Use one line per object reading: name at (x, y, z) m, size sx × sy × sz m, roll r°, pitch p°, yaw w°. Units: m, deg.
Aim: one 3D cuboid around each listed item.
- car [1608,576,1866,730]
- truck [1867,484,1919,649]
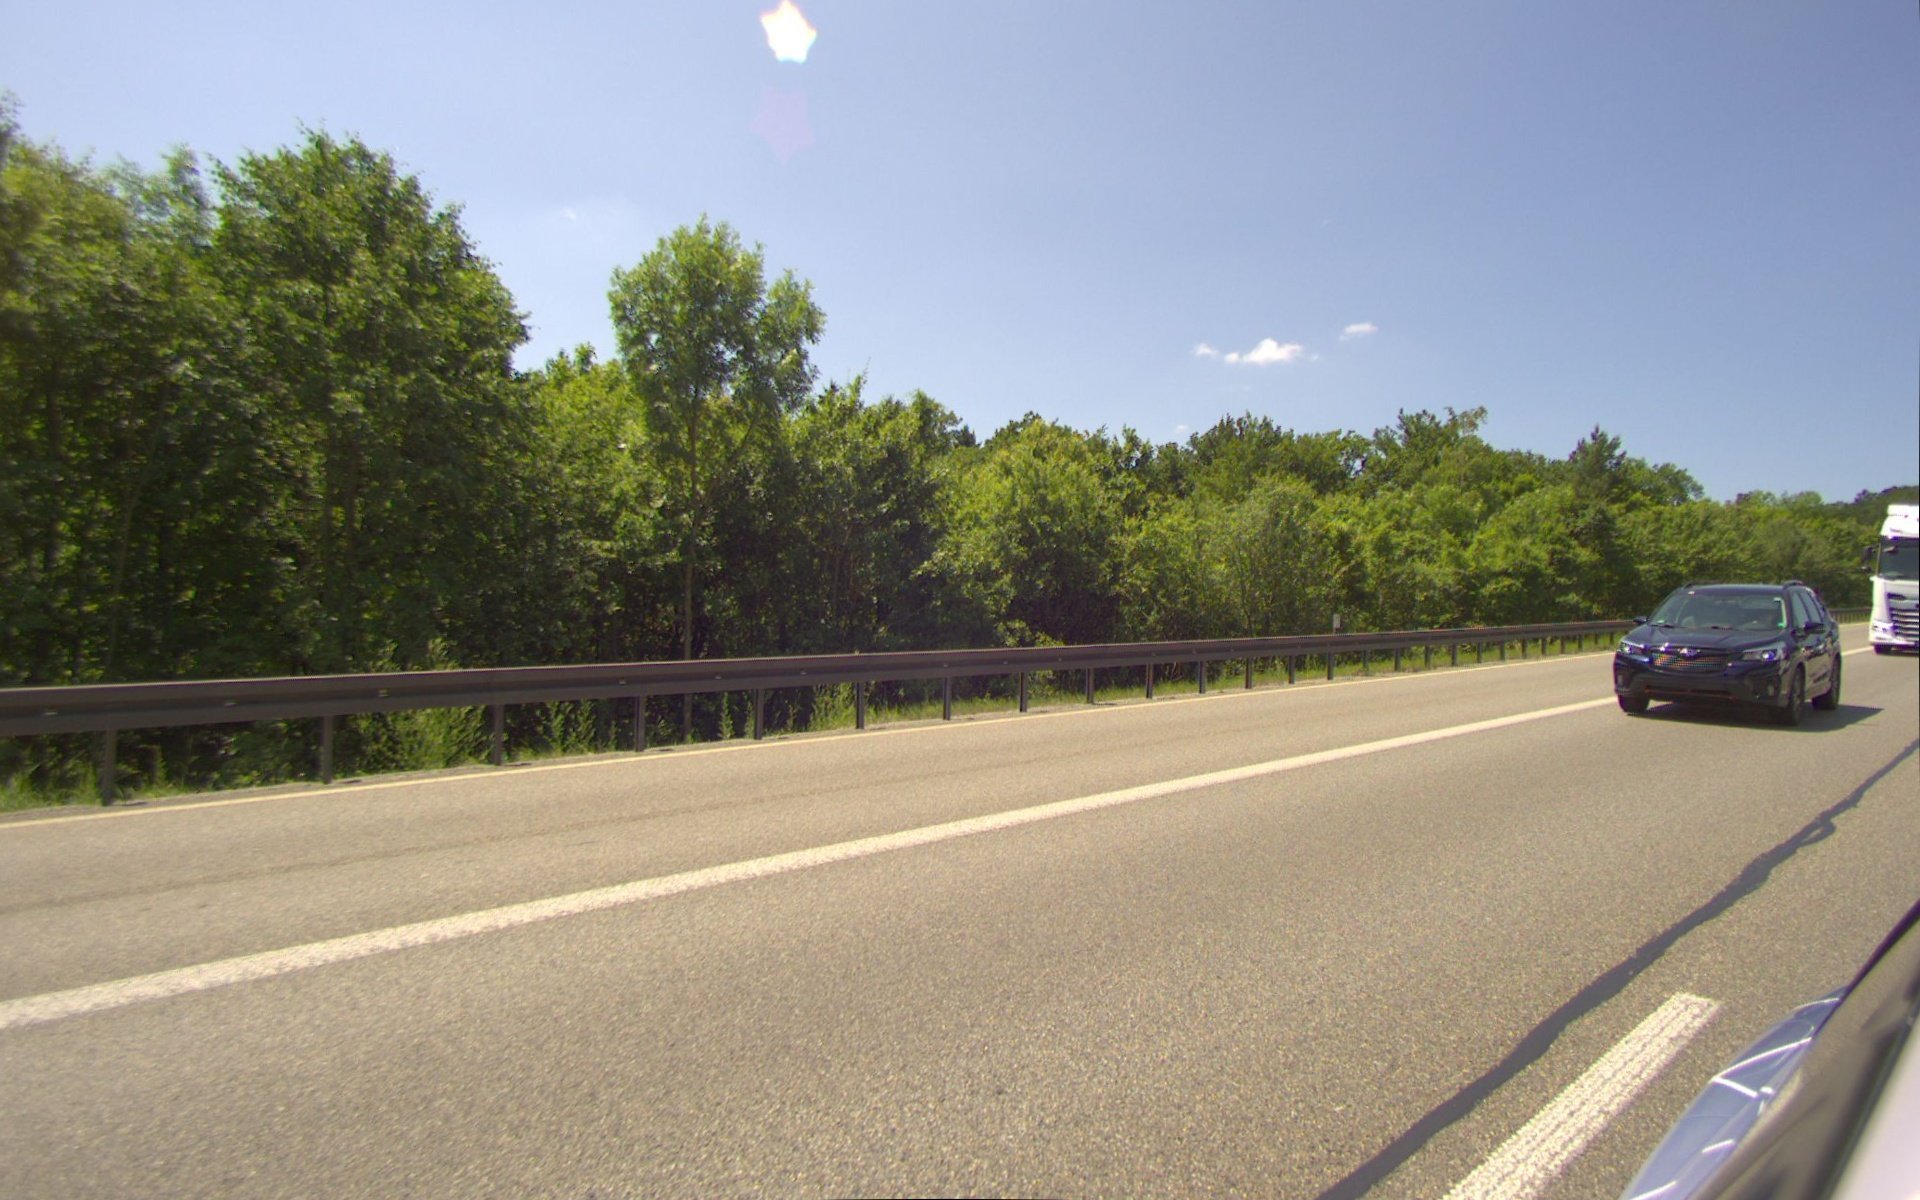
car at (10.213, 0.561, 13.202) m, size 4.129 × 1.688 × 1.815 m, roll 0°, pitch 1°, yaw -40°
truck at (30.918, -0.883, 30.734) m, size 15.980 × 4.220 × 2.789 m, roll 0°, pitch 2°, yaw -40°
